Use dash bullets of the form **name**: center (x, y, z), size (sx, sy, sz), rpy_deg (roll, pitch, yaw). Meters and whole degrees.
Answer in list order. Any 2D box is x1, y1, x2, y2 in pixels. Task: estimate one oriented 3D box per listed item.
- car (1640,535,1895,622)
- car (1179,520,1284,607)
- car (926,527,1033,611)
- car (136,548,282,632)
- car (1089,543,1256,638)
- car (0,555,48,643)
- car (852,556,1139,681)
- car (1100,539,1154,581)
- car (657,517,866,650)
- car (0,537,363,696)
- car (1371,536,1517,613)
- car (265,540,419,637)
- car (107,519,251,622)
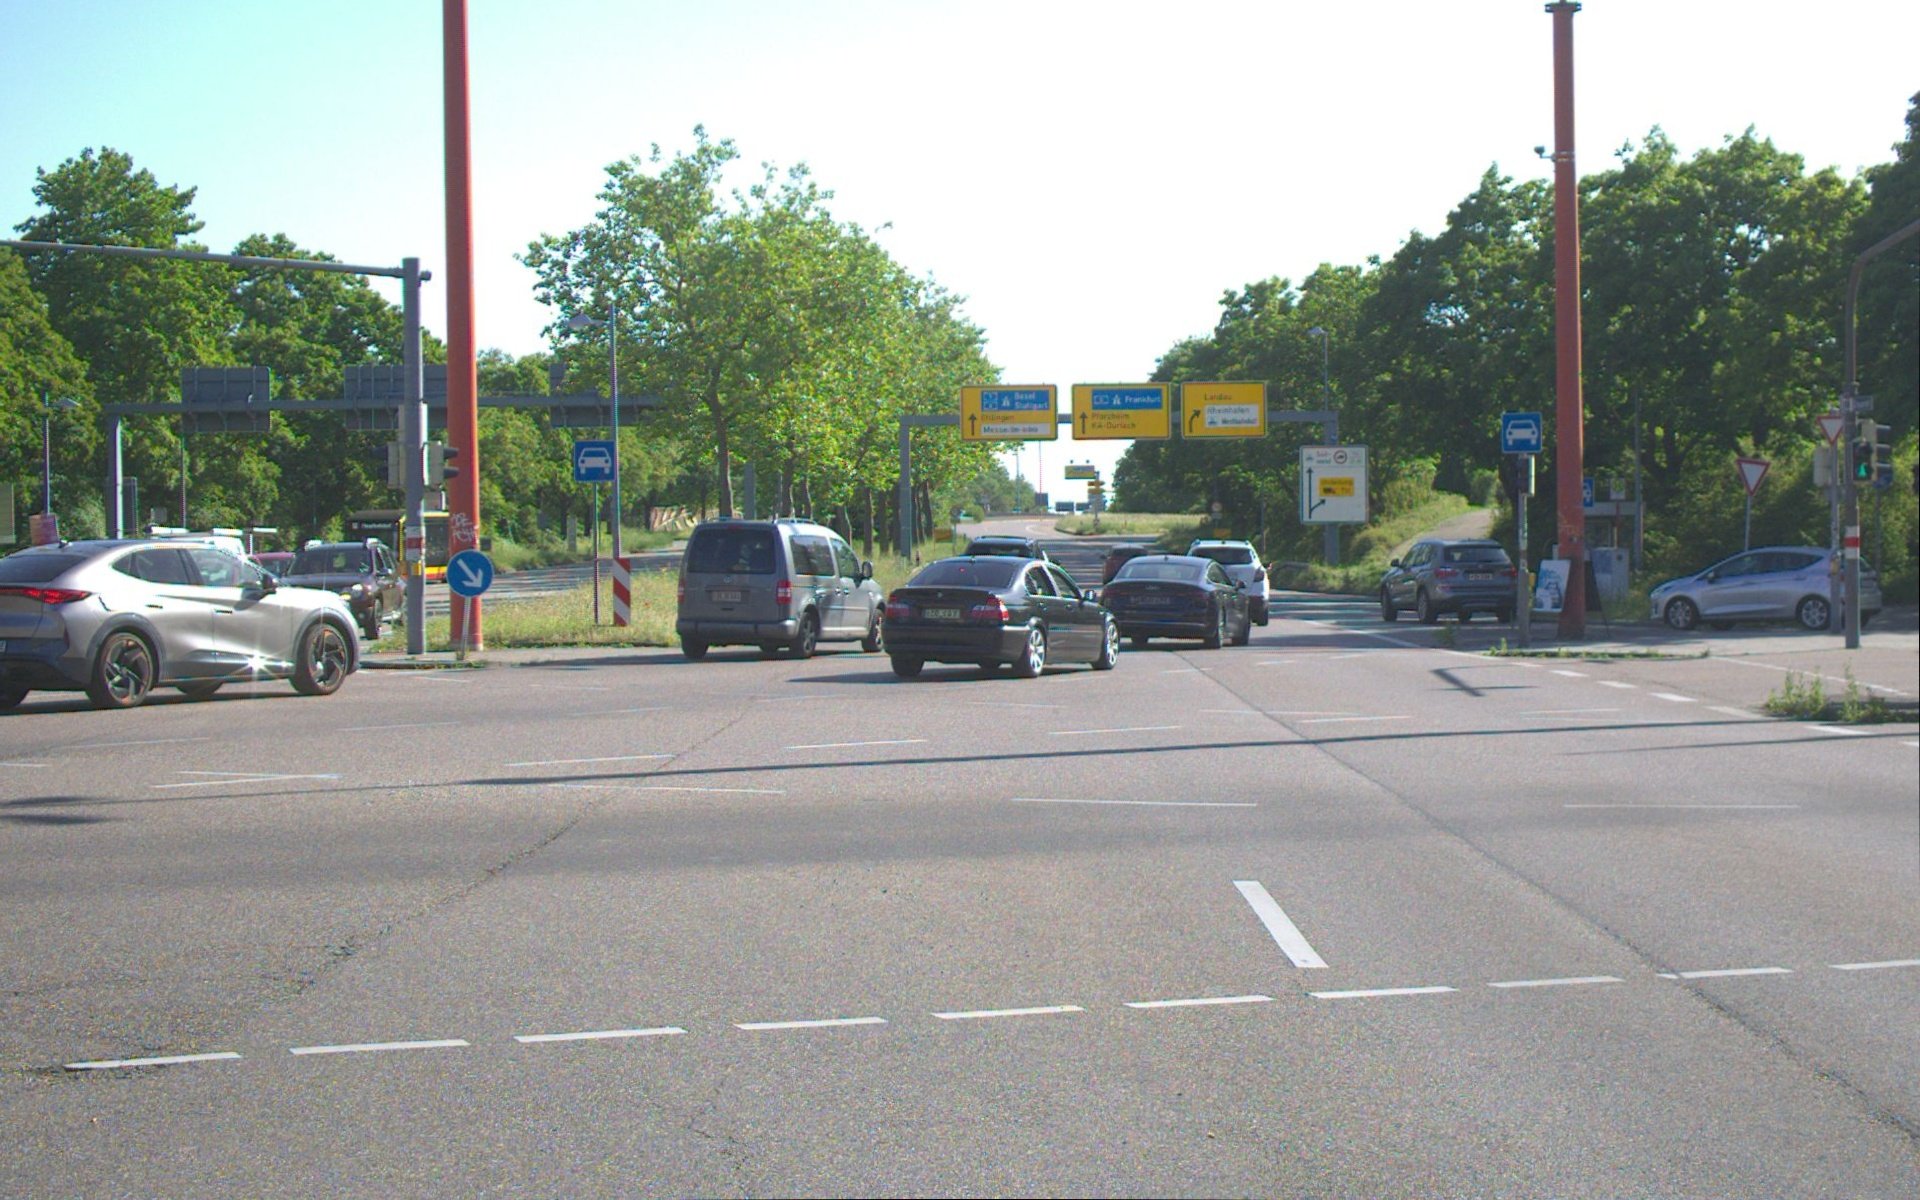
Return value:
- **car**: center (14.087, -0.377, 60.058), size (3.990, 1.462, 1.680), rpy_deg (0, 1, 35)
- **car**: center (5.333, -0.722, 67.064), size (1.823, 1.630, 4.252), rpy_deg (0, 1, 7)
- **car**: center (0.408, -0.615, 66.084), size (1.852, 1.540, 4.262), rpy_deg (-1, 1, 3)
- **car**: center (-12.691, -0.197, 58.278), size (1.739, 1.357, 3.613), rpy_deg (-1, 1, -1)
- **car**: center (3.240, -0.169, 51.647), size (1.761, 1.345, 4.360), rpy_deg (0, 1, 14)
- **car**: center (-16.419, -0.023, 56.943), size (1.739, 1.406, 3.613), rpy_deg (-1, 1, -1)
- **car**: center (0.486, 0.179, 40.395), size (1.762, 1.345, 4.357), rpy_deg (0, 1, 24)
- **car**: center (5.958, -1.443, 122.854), size (1.680, 1.430, 4.065), rpy_deg (-1, 1, -1)
- **car**: center (-2.631, -0.250, 46.609), size (1.846, 1.702, 4.305), rpy_deg (0, 1, 10)
- **car**: center (-7.953, 0.117, 33.354), size (1.833, 1.417, 4.429), rpy_deg (0, 1, 30)
- **car**: center (9.662, -0.527, 68.935), size (1.779, 1.480, 4.330), rpy_deg (-1, 1, -8)
- **car**: center (-10.063, -0.212, 56.218), size (1.819, 1.503, 4.000), rpy_deg (-1, 1, -1)
- **car**: center (-16.090, -0.609, 71.068), size (1.893, 2.019, 5.223), rpy_deg (1, 0, -1)
